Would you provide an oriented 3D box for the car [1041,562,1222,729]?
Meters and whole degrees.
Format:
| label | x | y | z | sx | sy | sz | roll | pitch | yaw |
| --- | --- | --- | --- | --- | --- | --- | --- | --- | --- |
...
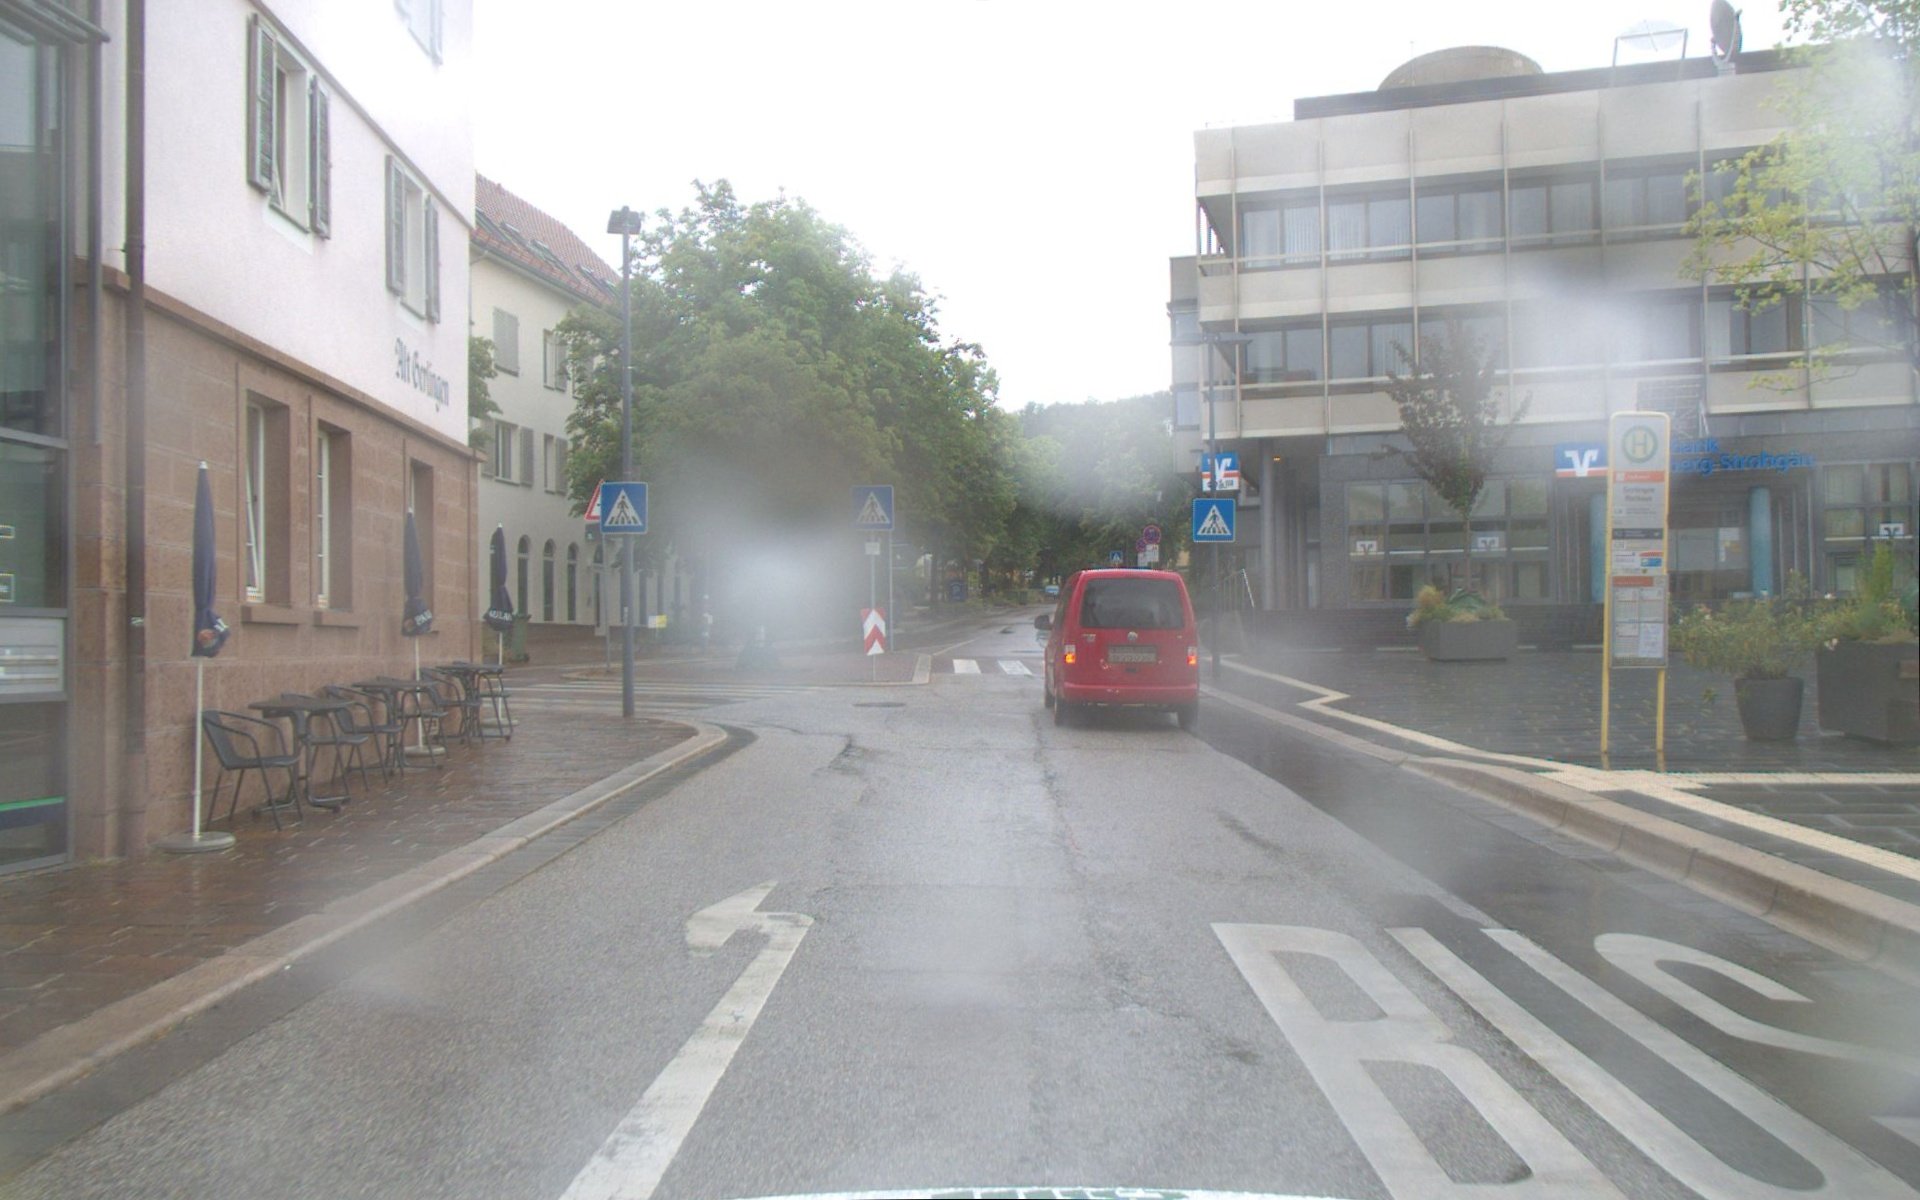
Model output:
| label | x | y | z | sx | sy | sz | roll | pitch | yaw |
| --- | --- | --- | --- | --- | --- | --- | --- | --- | --- |
| car | 2.047 | 0.530 | 20.864 | 1.824 | 1.863 | 4.184 | -1 | -1 | 0 |

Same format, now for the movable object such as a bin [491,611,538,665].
| label | x | y | z | sx | sy | sz | roll | pitch | yaw |
| --- | --- | --- | --- | --- | --- | --- | --- | --- | --- |
| movable object such as a bin | -9.702 | 0.821 | 36.045 | 0.721 | 1.144 | 0.650 | -2 | -1 | 15 |

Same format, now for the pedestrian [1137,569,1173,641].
| label | x | y | z | sx | sy | sz | roll | pitch | yaw |
| --- | --- | --- | --- | --- | --- | --- | --- | --- | --- |
| pedestrian | 5.112 | 0.140 | 43.360 | 0.816 | 1.862 | 0.816 | -2 | -2 | 11 |
